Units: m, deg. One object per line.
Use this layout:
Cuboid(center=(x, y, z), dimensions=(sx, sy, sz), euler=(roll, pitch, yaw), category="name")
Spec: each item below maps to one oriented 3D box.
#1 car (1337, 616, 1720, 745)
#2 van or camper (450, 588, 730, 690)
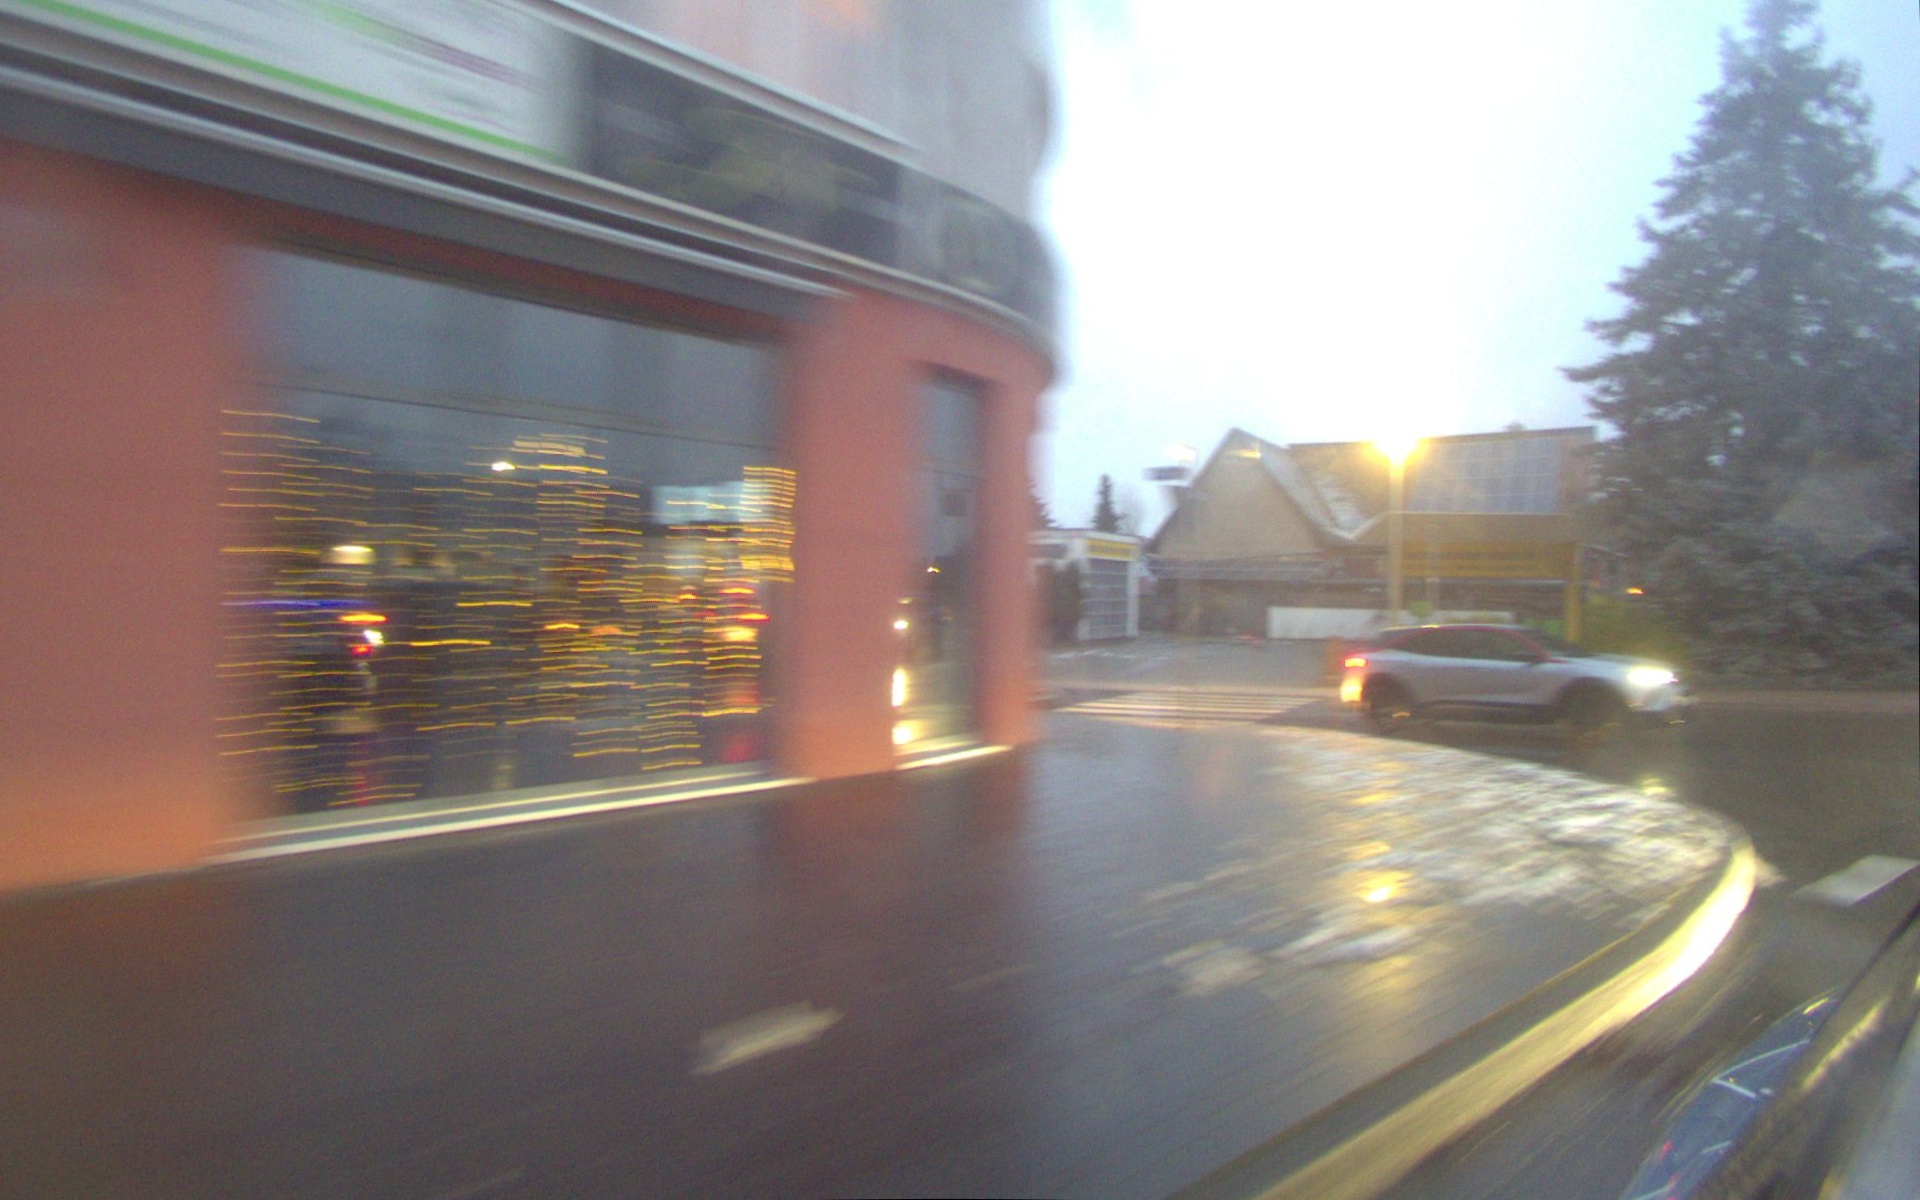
Cuboid(center=(7.481, 0.989, 13.618), dimensions=(1.768, 1.460, 4.171), euler=(2, -3, -45), category="car")
Cuboid(center=(-10.170, 1.029, 27.177), dimensions=(9.132, 2.363, 2.422), euler=(-1, -3, 36), category="van or camper")
